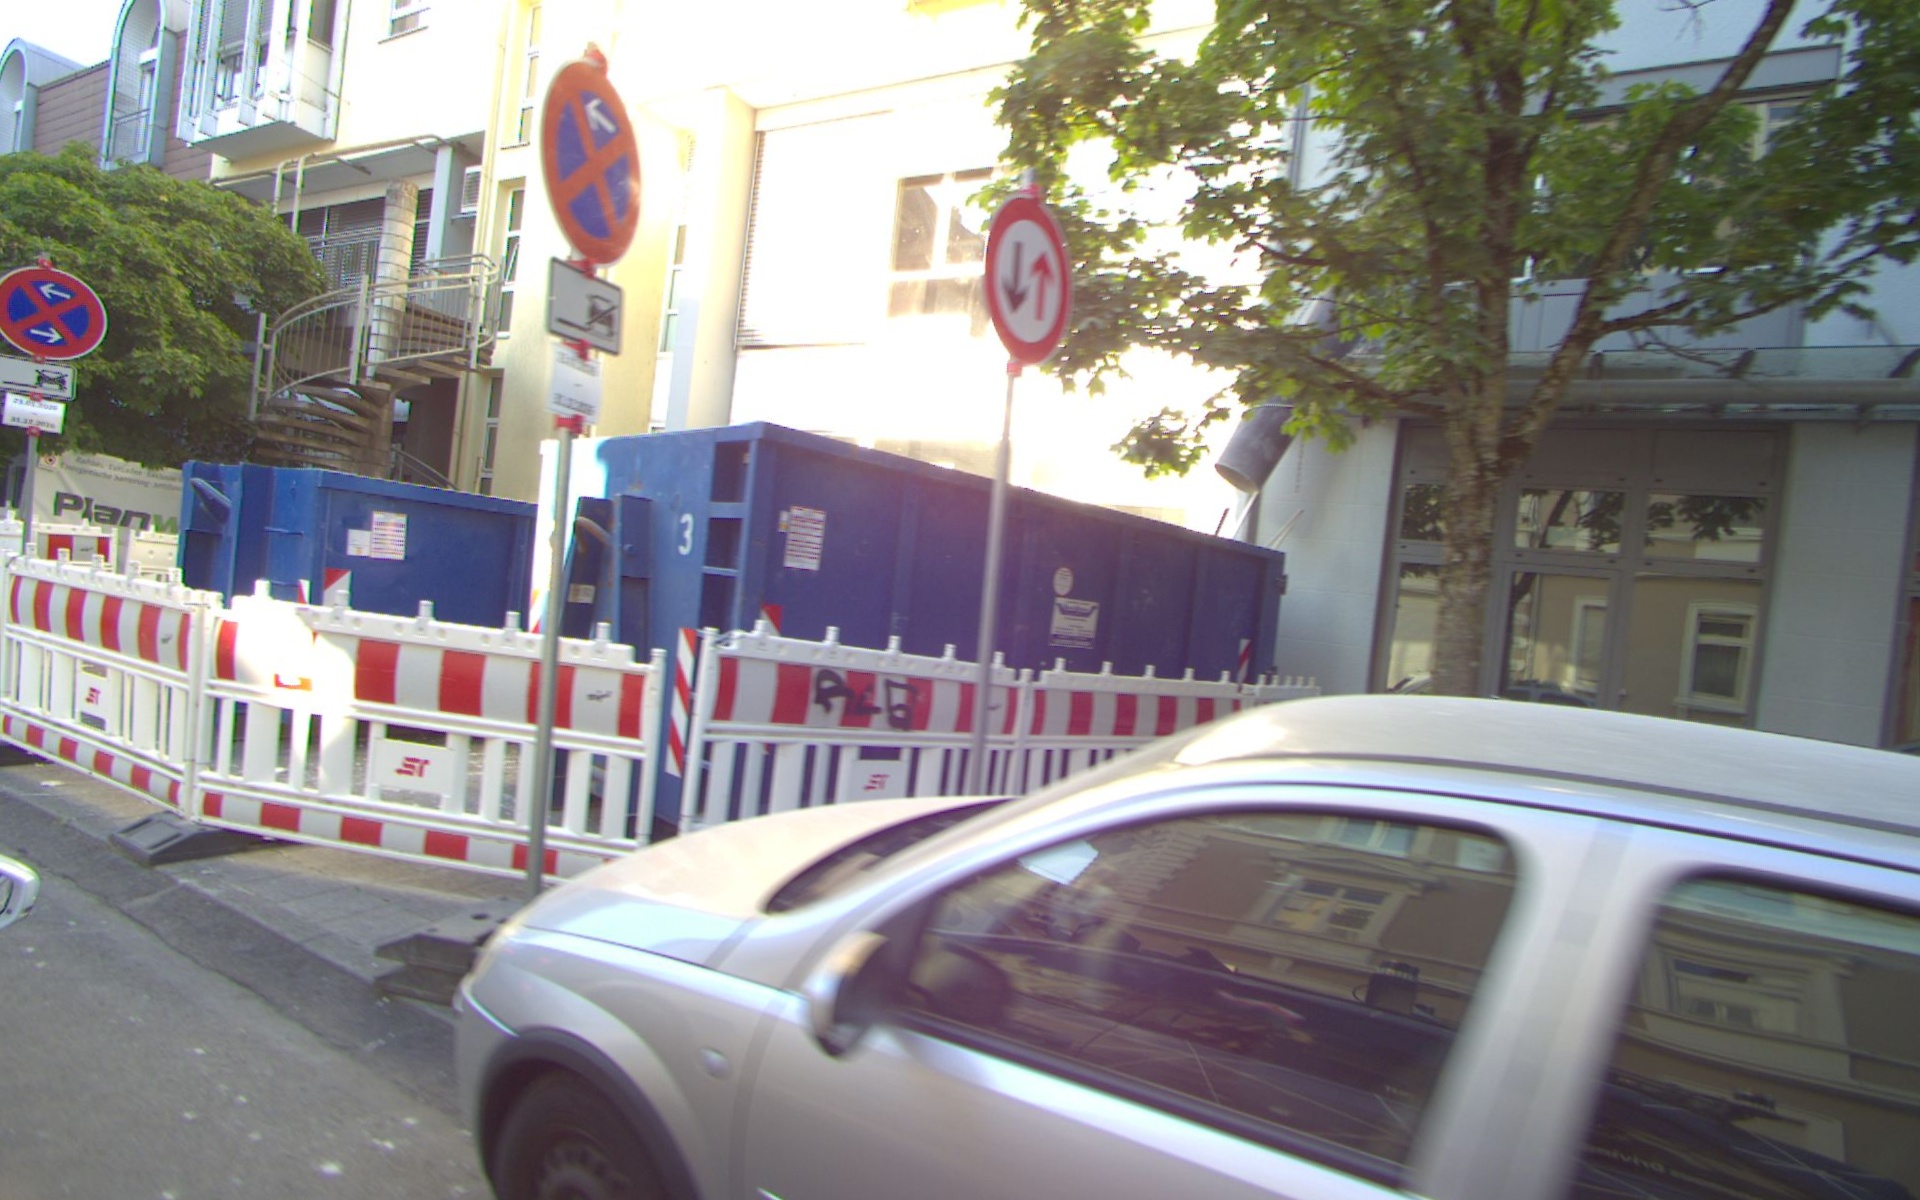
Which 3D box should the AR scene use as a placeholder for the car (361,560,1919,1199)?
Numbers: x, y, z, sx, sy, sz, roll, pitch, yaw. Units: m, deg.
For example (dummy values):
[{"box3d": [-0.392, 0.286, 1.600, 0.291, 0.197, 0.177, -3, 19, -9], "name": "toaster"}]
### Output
[{"box3d": [0.708, 0.876, 1.928, 3.668, 1.495, 1.677, 7, 2, 33], "name": "car"}]
